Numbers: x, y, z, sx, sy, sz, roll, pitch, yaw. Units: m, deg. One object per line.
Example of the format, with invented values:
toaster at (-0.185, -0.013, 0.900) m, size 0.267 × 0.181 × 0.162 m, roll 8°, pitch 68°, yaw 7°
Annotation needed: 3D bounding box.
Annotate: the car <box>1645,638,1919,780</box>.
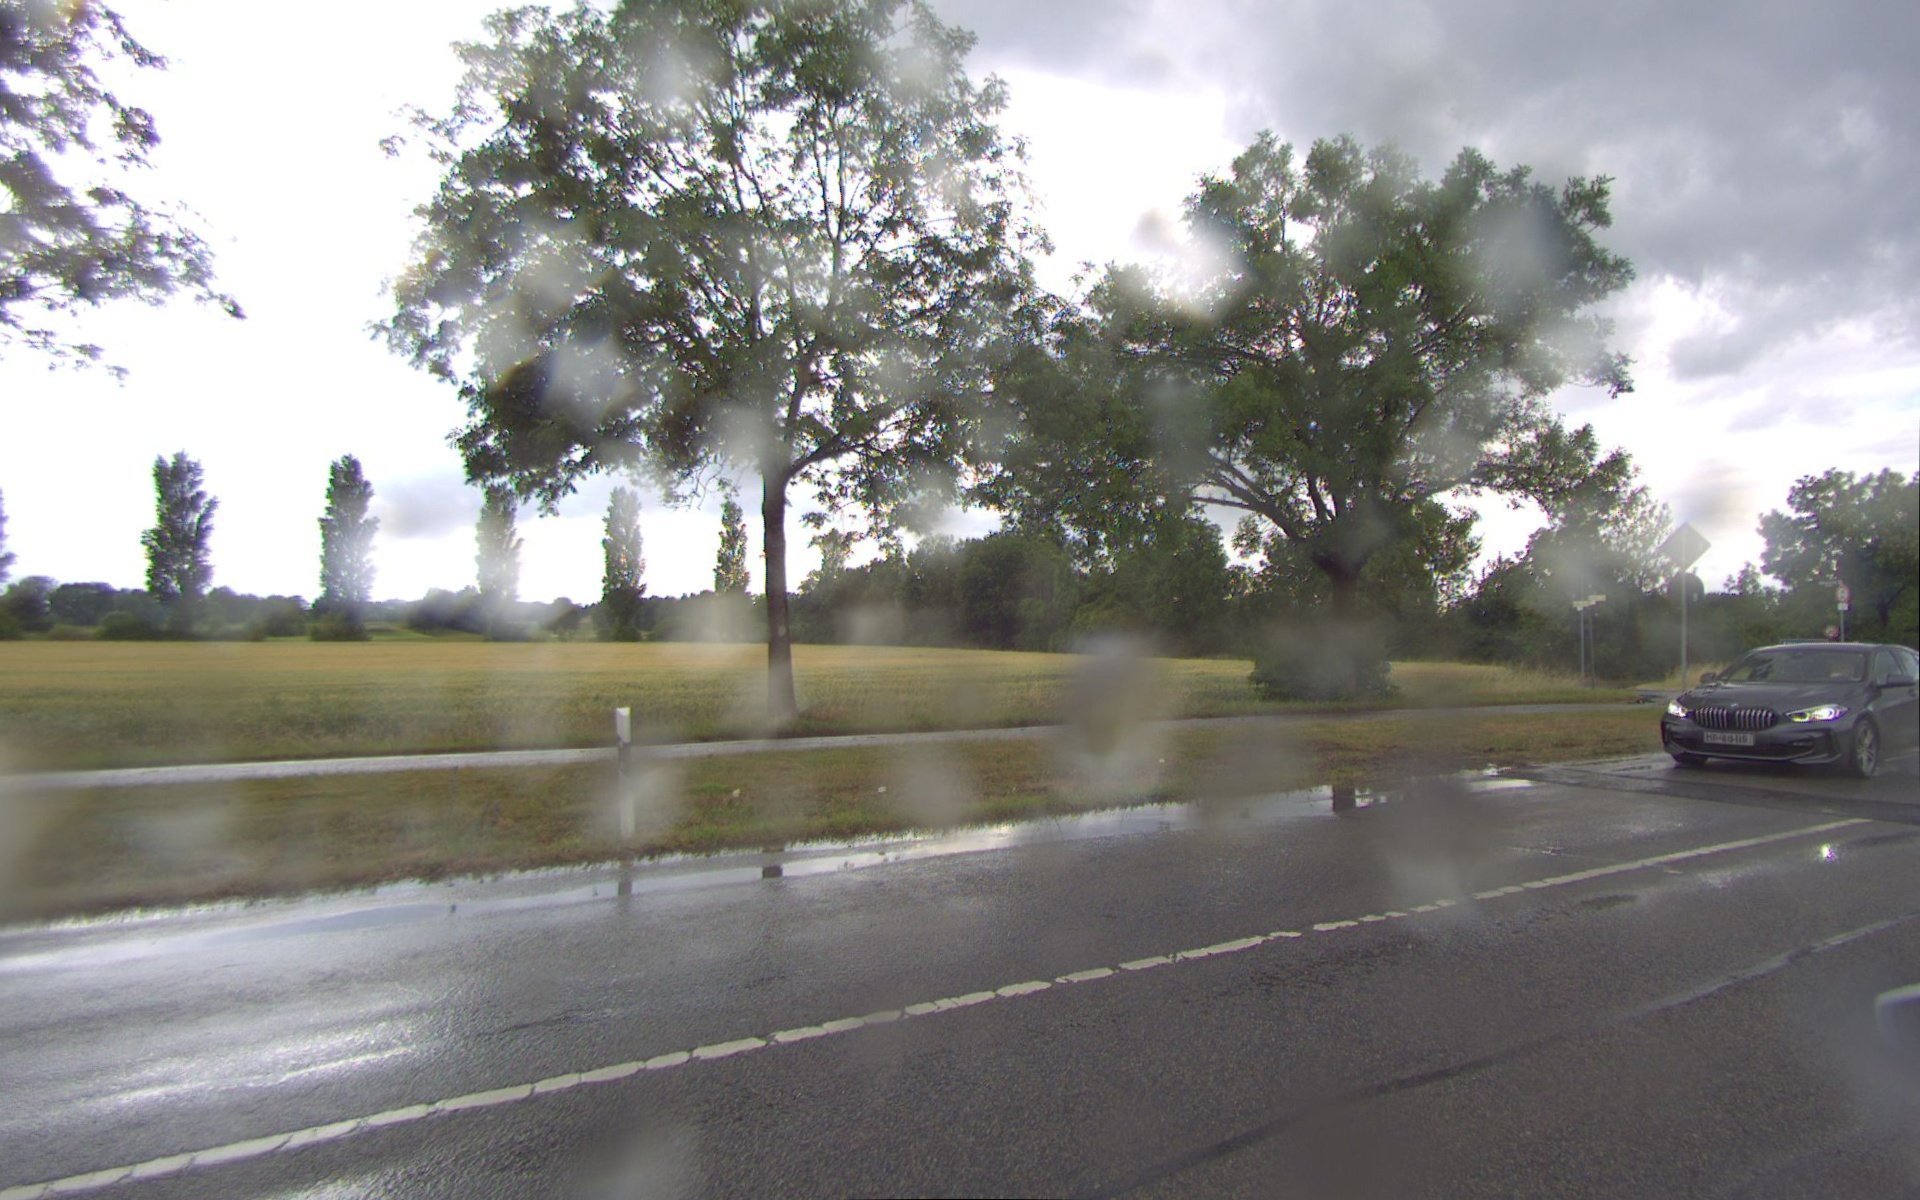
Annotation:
car at (10.071, 1.183, 11.839) m, size 3.995 × 1.422 × 1.712 m, roll 1°, pitch -3°, yaw -30°
